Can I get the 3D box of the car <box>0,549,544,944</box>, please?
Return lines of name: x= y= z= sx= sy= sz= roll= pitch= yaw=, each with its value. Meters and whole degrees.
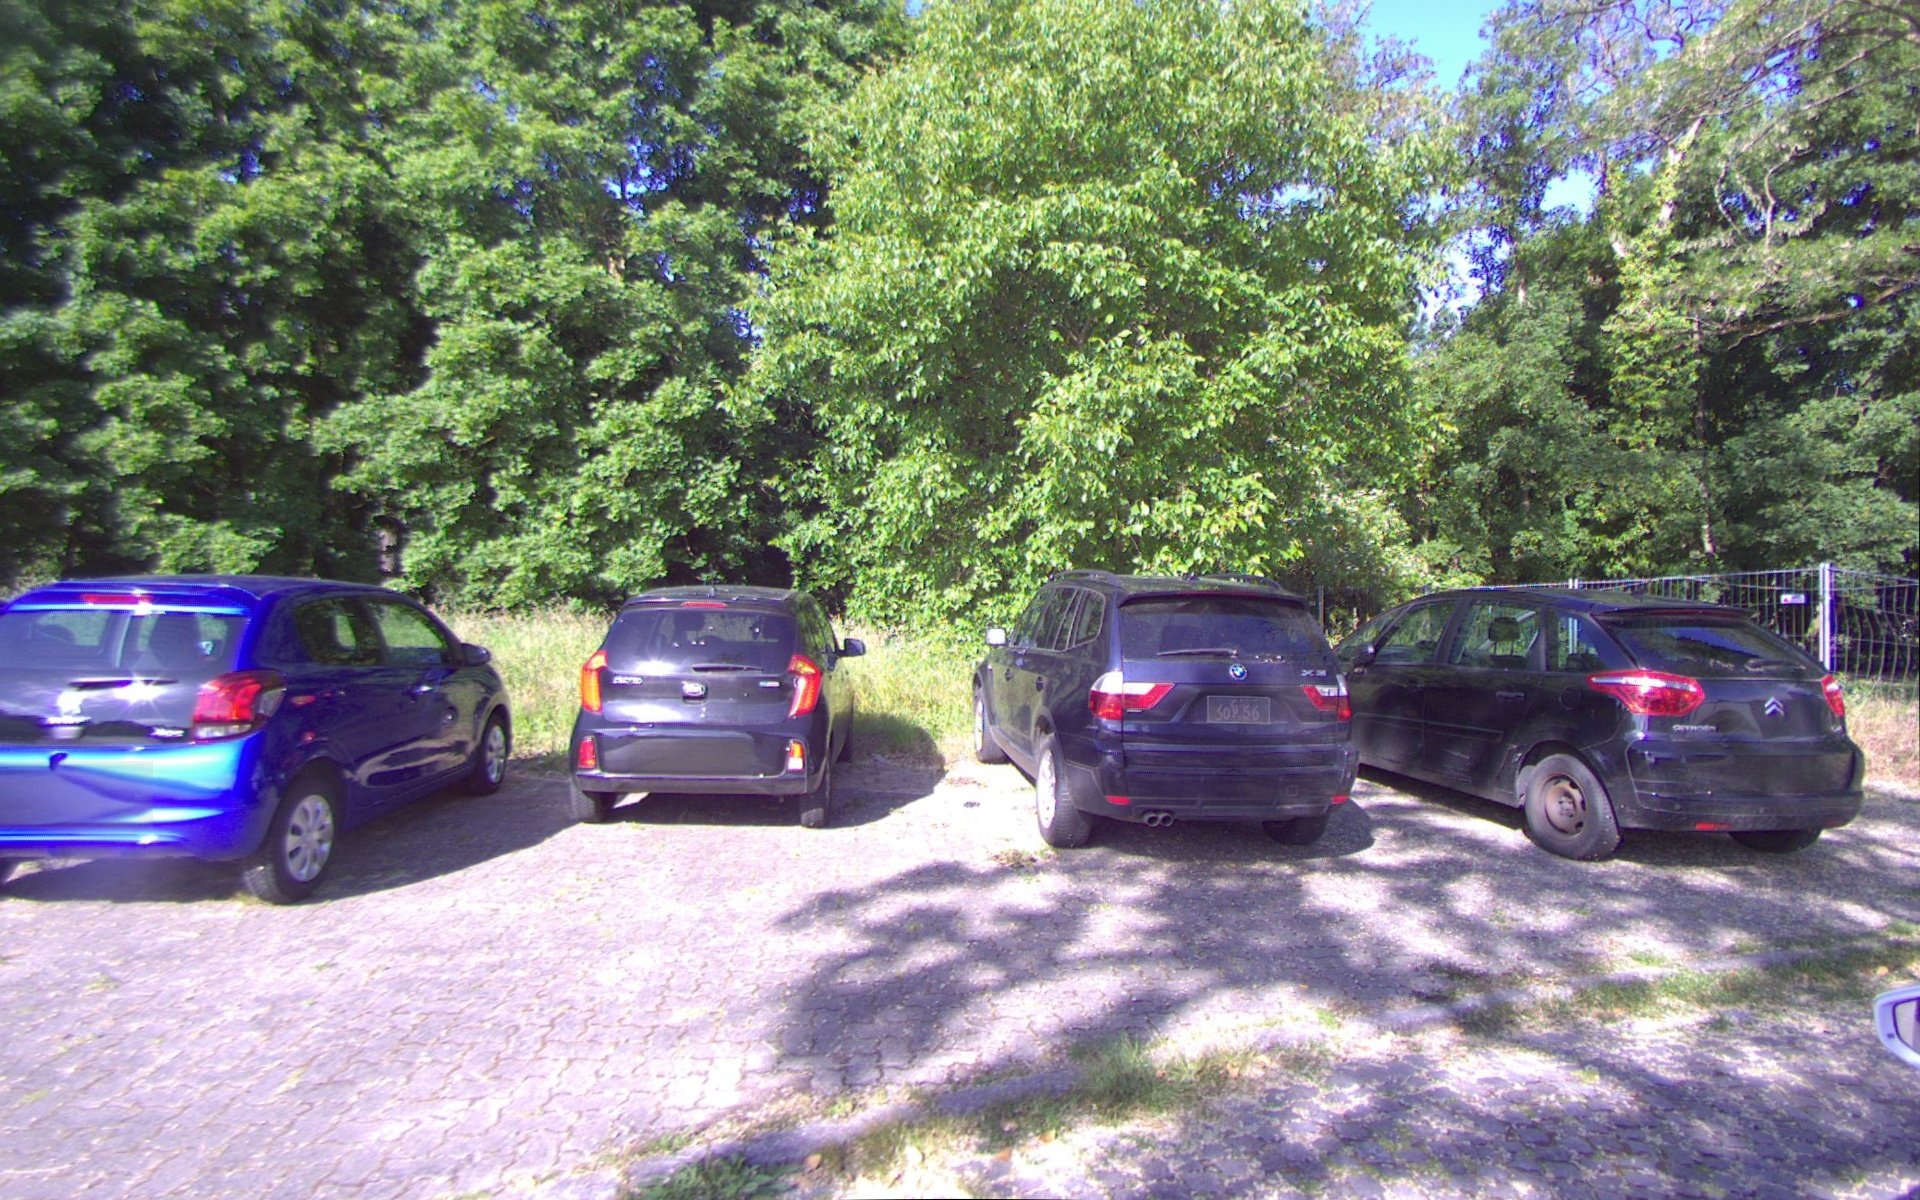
car: x=-3.842 y=0.574 z=5.672 sx=1.682 sy=1.513 sz=3.661 roll=1 pitch=0 yaw=-5

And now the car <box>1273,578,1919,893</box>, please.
car: x=4.342 y=0.705 z=7.731 sx=1.762 sy=1.674 sz=4.289 roll=1 pitch=2 yaw=-13

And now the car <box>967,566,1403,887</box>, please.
car: x=1.242 y=0.643 z=7.442 sx=1.784 sy=1.678 sz=4.184 roll=1 pitch=1 yaw=-8

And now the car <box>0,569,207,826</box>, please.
car: x=-6.364 y=0.544 z=5.635 sx=1.800 sy=1.470 sz=3.659 roll=1 pitch=0 yaw=-7

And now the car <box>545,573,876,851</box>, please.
car: x=-1.574 y=0.615 z=7.526 sx=1.646 sy=1.536 sz=3.550 roll=2 pitch=1 yaw=-2
